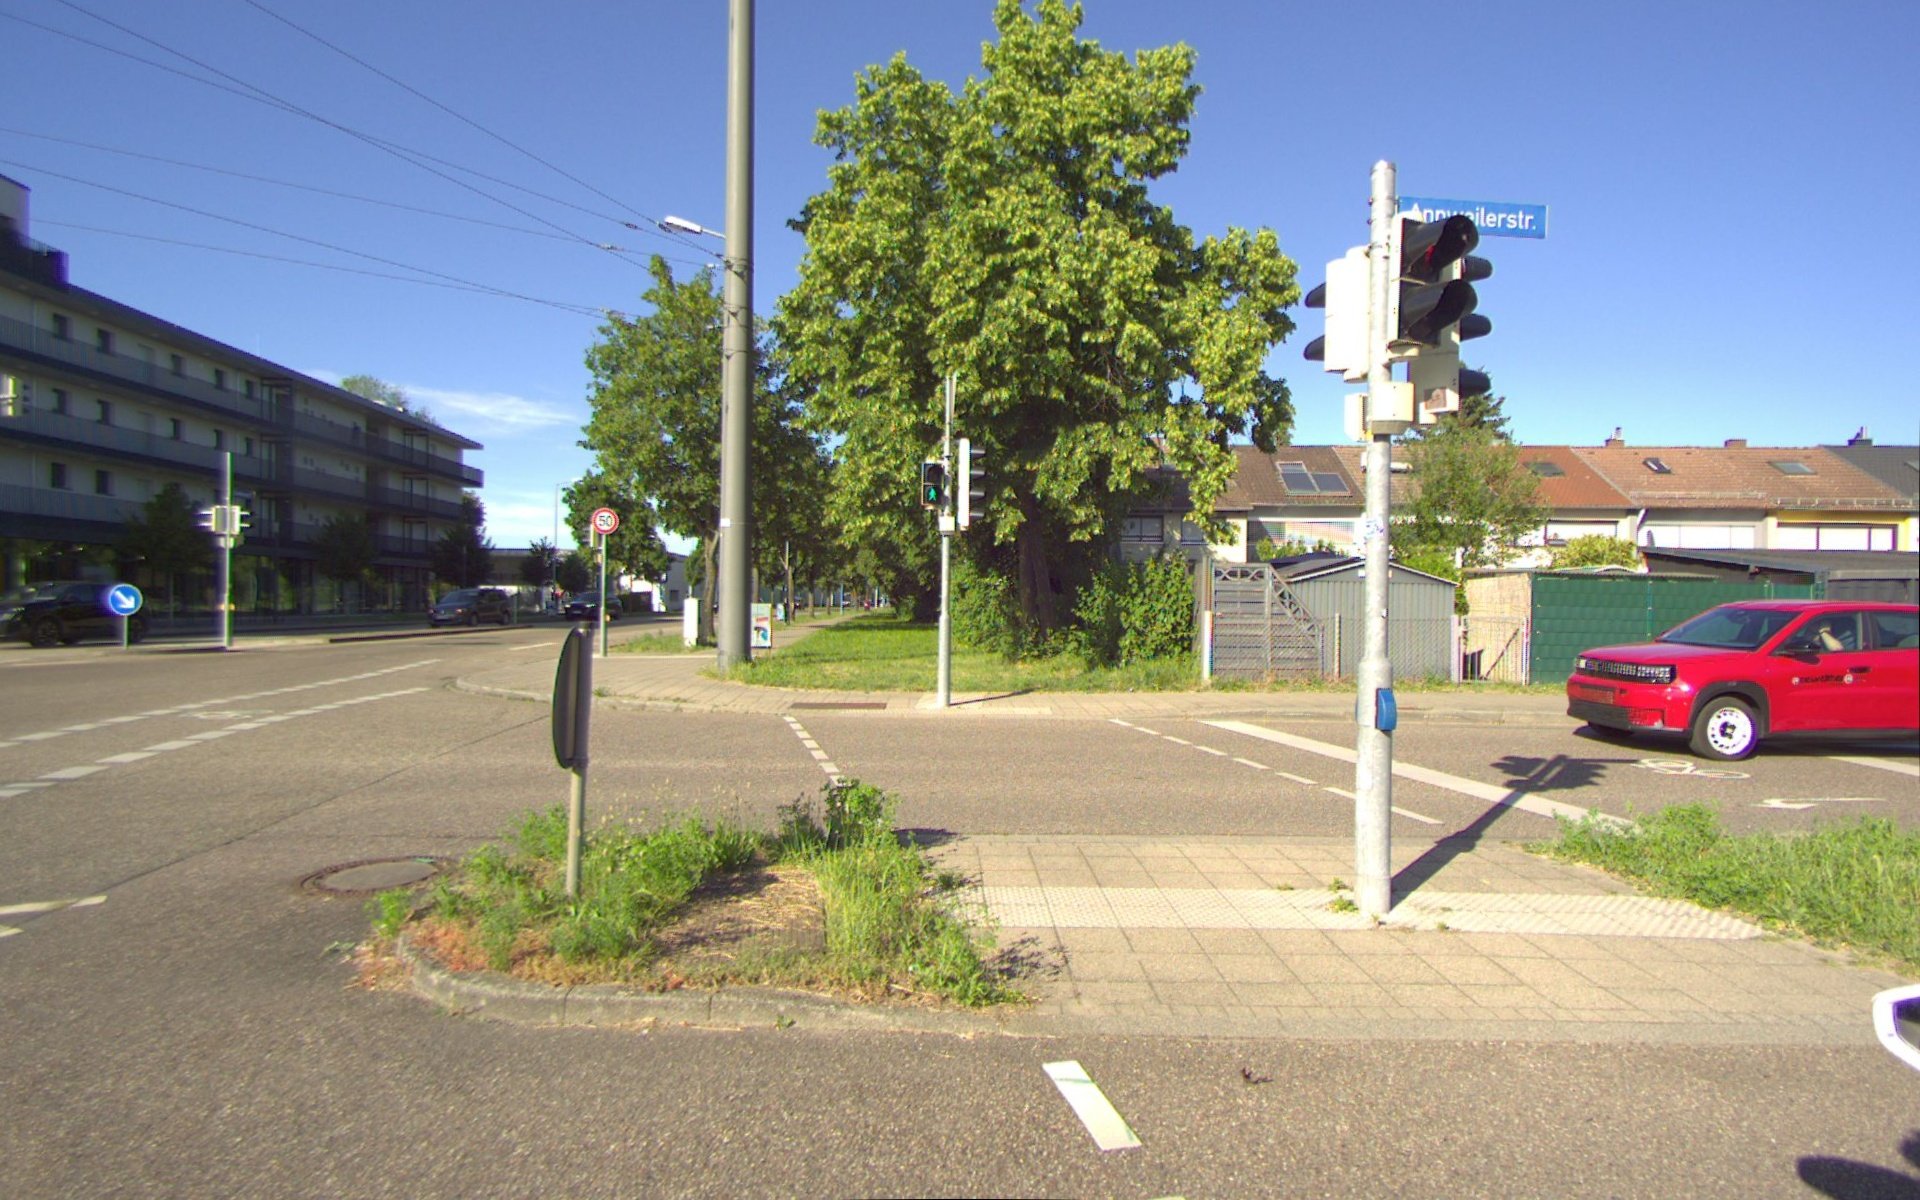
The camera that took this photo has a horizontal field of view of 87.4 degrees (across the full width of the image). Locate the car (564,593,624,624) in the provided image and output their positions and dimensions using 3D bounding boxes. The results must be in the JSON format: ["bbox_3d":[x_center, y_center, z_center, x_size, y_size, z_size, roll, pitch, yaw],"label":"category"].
[{"bbox_3d":[-21.779,0.462,59.993,1.962,1.761,5.196,1,0,-4],"label":"car"}]

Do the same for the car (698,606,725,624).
[{"bbox_3d":[-22.743,1.348,92.059,1.652,1.555,3.997,1,0,-4],"label":"car"}]

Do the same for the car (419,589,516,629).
[{"bbox_3d":[-20.332,0.365,41.679,1.960,1.592,4.001,0,0,2],"label":"car"}]

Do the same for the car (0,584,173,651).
[{"bbox_3d":[-22.808,0.408,25.642,1.936,1.555,4.737,1,0,-4],"label":"car"}]

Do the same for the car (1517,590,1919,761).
[{"bbox_3d":[8.538,0.740,10.716,4.099,1.610,1.945,1,0,-2],"label":"car"}]
